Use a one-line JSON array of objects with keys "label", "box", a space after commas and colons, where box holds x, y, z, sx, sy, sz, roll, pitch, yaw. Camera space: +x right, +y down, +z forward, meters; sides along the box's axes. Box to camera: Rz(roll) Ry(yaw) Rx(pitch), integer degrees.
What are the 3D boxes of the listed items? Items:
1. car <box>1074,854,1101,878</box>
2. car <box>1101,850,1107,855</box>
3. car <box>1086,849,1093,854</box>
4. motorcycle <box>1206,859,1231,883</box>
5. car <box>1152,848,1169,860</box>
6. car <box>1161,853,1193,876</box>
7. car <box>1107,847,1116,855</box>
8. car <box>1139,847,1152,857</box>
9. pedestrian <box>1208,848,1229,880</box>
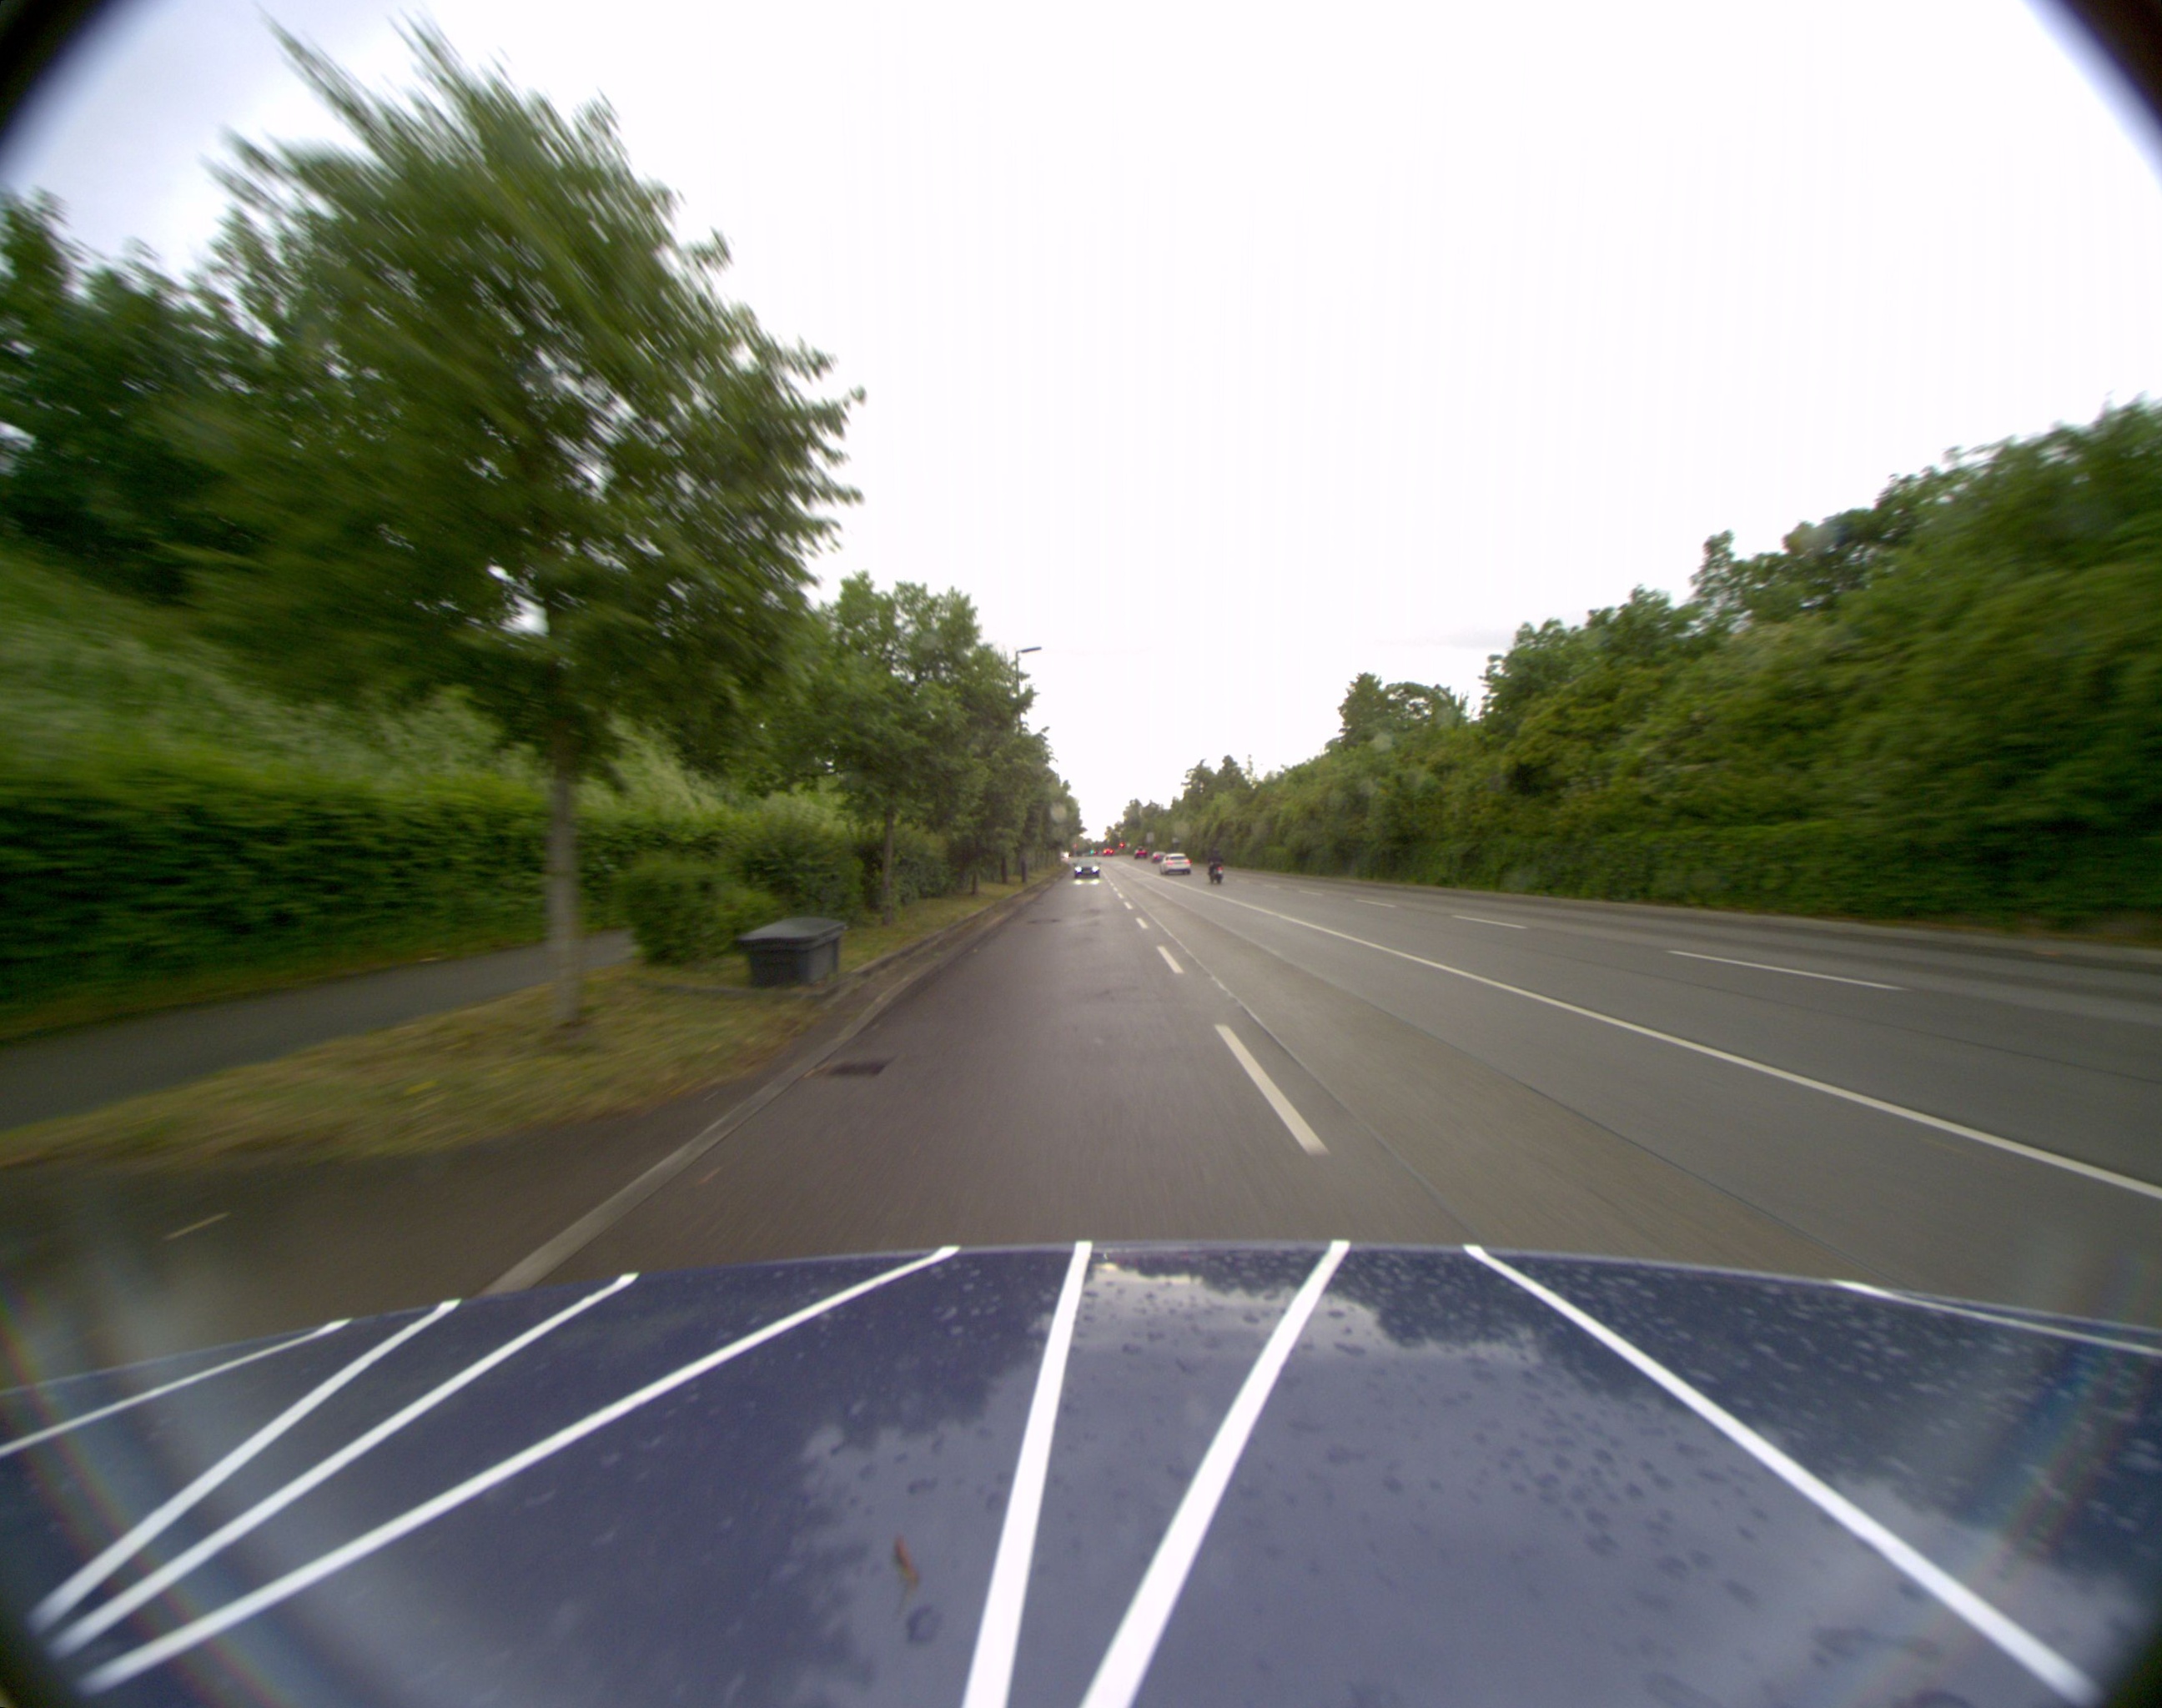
[{"label": "car", "box": [0.464, 0.820, 55.291, 1.738, 1.577, 4.284, -2, 0, -2]}, {"label": "car", "box": [6.715, -0.557, 223.688, 1.552, 1.429, 3.695, -2, 1, 0]}, {"label": "car", "box": [2.774, -0.706, 252.998, 1.806, 1.597, 4.424, -3, 1, -8]}, {"label": "motorcycle", "box": [6.820, 0.831, 37.781, 0.807, 1.124, 2.231, -2, 0, 1]}, {"label": "car", "box": [10.243, 0.028, 97.960, 1.764, 1.373, 4.838, -3, 0, 1]}, {"label": "car", "box": [6.803, 0.696, 54.382, 1.719, 1.496, 4.516, -3, 0, 1]}, {"label": "car", "box": [6.974, -0.617, 172.602, 1.817, 1.648, 4.594, -2, 1, 0]}, {"label": "car", "box": [10.885, -0.344, 128.819, 1.903, 1.544, 4.630, -3, 1, 1]}, {"label": "pedestrian", "box": [6.808, 0.491, 37.757, 0.807, 1.532, 1.111, -2, 1, 1]}]
